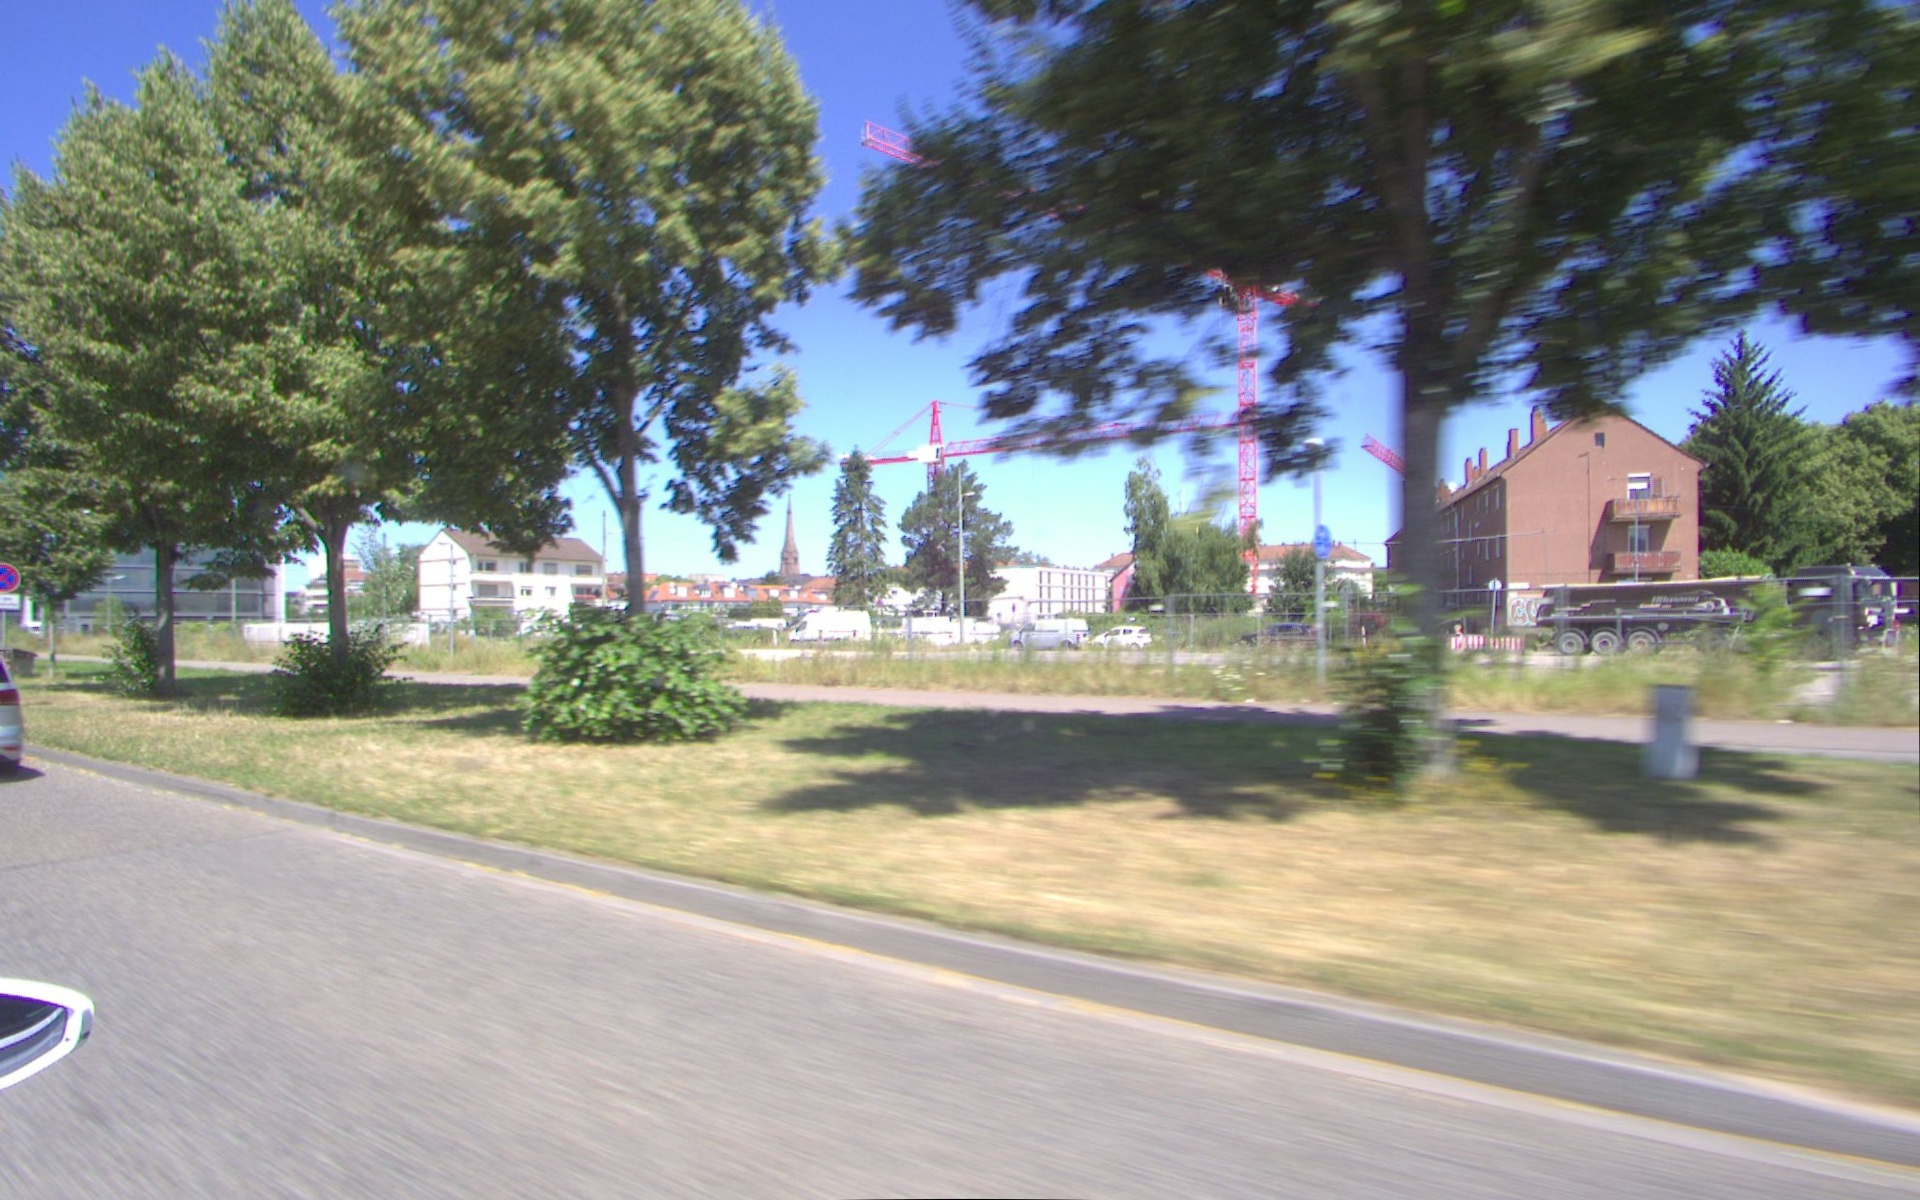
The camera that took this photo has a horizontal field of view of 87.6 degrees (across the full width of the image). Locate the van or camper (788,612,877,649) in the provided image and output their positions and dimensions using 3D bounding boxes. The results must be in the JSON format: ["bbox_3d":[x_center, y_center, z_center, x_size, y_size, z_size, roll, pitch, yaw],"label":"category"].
[{"bbox_3d":[-9.387,2.234,73.226,6.908,2.635,1.919,-1,-1,35],"label":"van or camper"}]

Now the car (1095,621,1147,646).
[{"bbox_3d":[9.708,2.028,60.385,2.754,1.424,1.409,-1,1,36],"label":"car"}]

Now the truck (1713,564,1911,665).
[{"bbox_3d":[32.566,0.585,38.479,3.114,3.578,4.948,0,-1,-24],"label":"truck"}]

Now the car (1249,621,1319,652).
[{"bbox_3d":[17.681,1.977,54.656,3.375,1.634,1.361,-1,-1,37],"label":"car"}]

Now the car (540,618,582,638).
[{"bbox_3d":[-35.779,2.531,89.741,3.570,1.606,1.672,-3,-1,31],"label":"car"}]

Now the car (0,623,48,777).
[{"bbox_3d":[-12.520,1.105,11.759,4.545,1.669,1.796,-1,-3,36],"label":"car"}]

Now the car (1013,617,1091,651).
[{"bbox_3d":[5.780,2.144,63.096,4.611,2.040,1.777,-1,-1,29],"label":"car"}]

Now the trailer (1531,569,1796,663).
[{"bbox_3d":[29.611,0.735,42.488,8.893,3.578,3.138,-2,-1,42],"label":"trailer"}]
